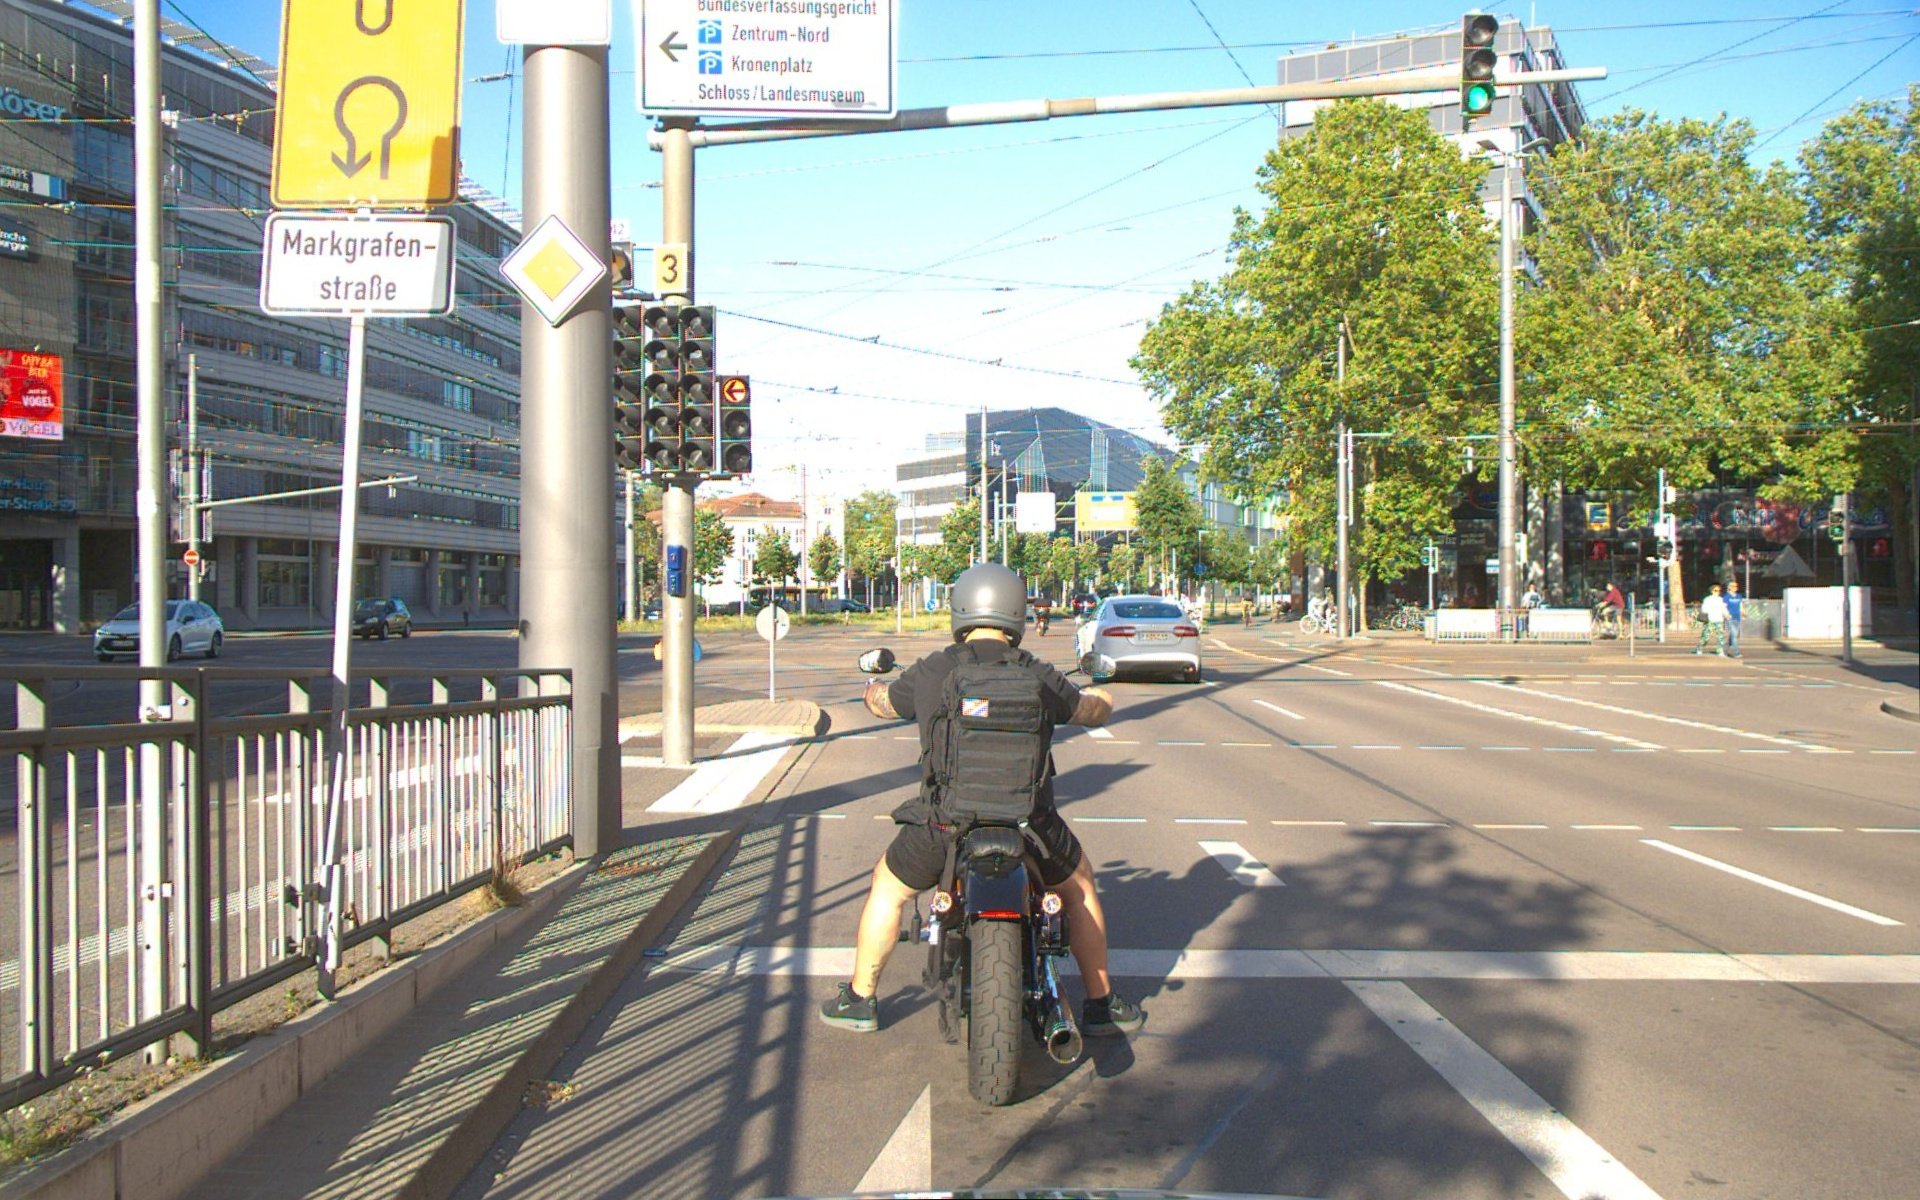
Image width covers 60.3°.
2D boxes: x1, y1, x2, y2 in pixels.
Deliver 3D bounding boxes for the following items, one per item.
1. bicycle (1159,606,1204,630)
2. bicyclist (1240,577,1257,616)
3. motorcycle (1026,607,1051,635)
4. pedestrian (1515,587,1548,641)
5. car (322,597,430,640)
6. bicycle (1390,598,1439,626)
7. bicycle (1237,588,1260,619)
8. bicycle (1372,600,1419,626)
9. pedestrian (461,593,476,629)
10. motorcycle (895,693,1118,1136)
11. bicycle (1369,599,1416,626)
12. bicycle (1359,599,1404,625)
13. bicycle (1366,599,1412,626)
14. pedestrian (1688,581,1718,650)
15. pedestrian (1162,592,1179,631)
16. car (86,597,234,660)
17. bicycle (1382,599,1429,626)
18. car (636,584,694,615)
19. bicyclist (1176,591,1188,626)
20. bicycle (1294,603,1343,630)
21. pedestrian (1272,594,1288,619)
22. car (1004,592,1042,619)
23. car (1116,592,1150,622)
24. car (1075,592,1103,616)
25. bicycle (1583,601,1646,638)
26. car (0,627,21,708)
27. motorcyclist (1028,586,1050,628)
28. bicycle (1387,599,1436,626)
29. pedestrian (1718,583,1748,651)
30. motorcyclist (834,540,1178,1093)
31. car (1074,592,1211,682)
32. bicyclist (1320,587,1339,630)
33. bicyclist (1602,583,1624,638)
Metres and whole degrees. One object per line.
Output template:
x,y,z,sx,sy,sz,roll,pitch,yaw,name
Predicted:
8.993,0.716,67.193,1.792,0.942,0.357,1,-1,-9,bicycle
13.459,-0.157,77.293,0.682,1.840,0.729,1,-1,3,bicyclist
3.007,0.802,63.646,0.787,1.069,2.375,1,-1,-1,motorcycle
18.704,0.451,54.152,0.816,1.734,0.759,1,-1,-1,pedestrian
-21.104,0.664,59.921,1.786,1.455,4.244,1,-1,11,car
18.139,0.474,65.994,1.842,1.065,0.360,1,-1,-2,bicycle
13.464,0.191,77.221,0.710,1.391,2.918,1,-1,3,bicycle
18.115,0.536,68.779,1.842,1.065,0.360,1,-1,-2,bicycle
-27.924,0.620,94.016,0.617,2.049,0.754,1,-1,-1,pedestrian
0.110,0.916,5.606,0.588,1.054,2.233,1,0,-1,motorcycle
18.113,0.528,69.265,1.842,1.064,0.360,1,0,-2,bicycle
18.070,0.527,70.915,1.842,1.064,0.360,1,0,-2,bicycle
18.085,0.526,69.764,1.842,1.064,0.360,1,0,-2,bicycle
17.013,0.351,37.881,0.554,1.559,0.702,1,-1,20,pedestrian
8.776,0.485,68.866,0.576,1.584,0.488,1,-1,-9,pedestrian
-19.847,0.659,41.255,1.789,1.455,4.525,0,0,-5,car
18.206,0.515,67.593,1.842,1.065,0.360,1,-1,-2,bicycle
-15.618,0.008,87.828,1.712,1.550,4.003,1,-1,11,car
9.027,0.350,67.201,0.374,1.397,0.344,1,-1,-9,bicyclist
14.196,0.666,65.519,1.831,1.062,0.537,0,-1,18,bicycle
17.593,0.365,90.998,0.802,1.337,0.638,1,-1,8,pedestrian
3.659,0.339,95.651,1.695,1.482,4.421,1,-1,9,car
10.787,0.427,103.017,1.694,1.762,4.616,1,1,11,car
9.547,0.307,122.273,1.765,1.708,4.044,1,-1,9,car
22.525,0.683,56.919,2.001,1.235,0.421,1,-1,-1,bicycle
-14.497,0.900,22.472,2.835,1.081,1.235,1,-1,-22,car
3.028,0.267,63.189,0.780,1.607,0.529,1,-1,-2,motorcyclist
18.230,0.495,66.779,1.842,1.065,0.360,1,-1,-2,bicycle
17.597,0.387,37.656,0.554,1.505,0.702,1,-1,20,pedestrian
0.131,0.634,5.307,1.009,1.621,0.873,0,0,-1,motorcyclist
3.123,0.588,29.107,1.767,1.455,4.451,0,0,-2,car
14.611,0.344,65.394,0.673,1.702,0.541,0,-1,18,bicyclist
22.483,0.368,56.930,0.572,1.870,0.402,1,-1,-1,bicyclist
